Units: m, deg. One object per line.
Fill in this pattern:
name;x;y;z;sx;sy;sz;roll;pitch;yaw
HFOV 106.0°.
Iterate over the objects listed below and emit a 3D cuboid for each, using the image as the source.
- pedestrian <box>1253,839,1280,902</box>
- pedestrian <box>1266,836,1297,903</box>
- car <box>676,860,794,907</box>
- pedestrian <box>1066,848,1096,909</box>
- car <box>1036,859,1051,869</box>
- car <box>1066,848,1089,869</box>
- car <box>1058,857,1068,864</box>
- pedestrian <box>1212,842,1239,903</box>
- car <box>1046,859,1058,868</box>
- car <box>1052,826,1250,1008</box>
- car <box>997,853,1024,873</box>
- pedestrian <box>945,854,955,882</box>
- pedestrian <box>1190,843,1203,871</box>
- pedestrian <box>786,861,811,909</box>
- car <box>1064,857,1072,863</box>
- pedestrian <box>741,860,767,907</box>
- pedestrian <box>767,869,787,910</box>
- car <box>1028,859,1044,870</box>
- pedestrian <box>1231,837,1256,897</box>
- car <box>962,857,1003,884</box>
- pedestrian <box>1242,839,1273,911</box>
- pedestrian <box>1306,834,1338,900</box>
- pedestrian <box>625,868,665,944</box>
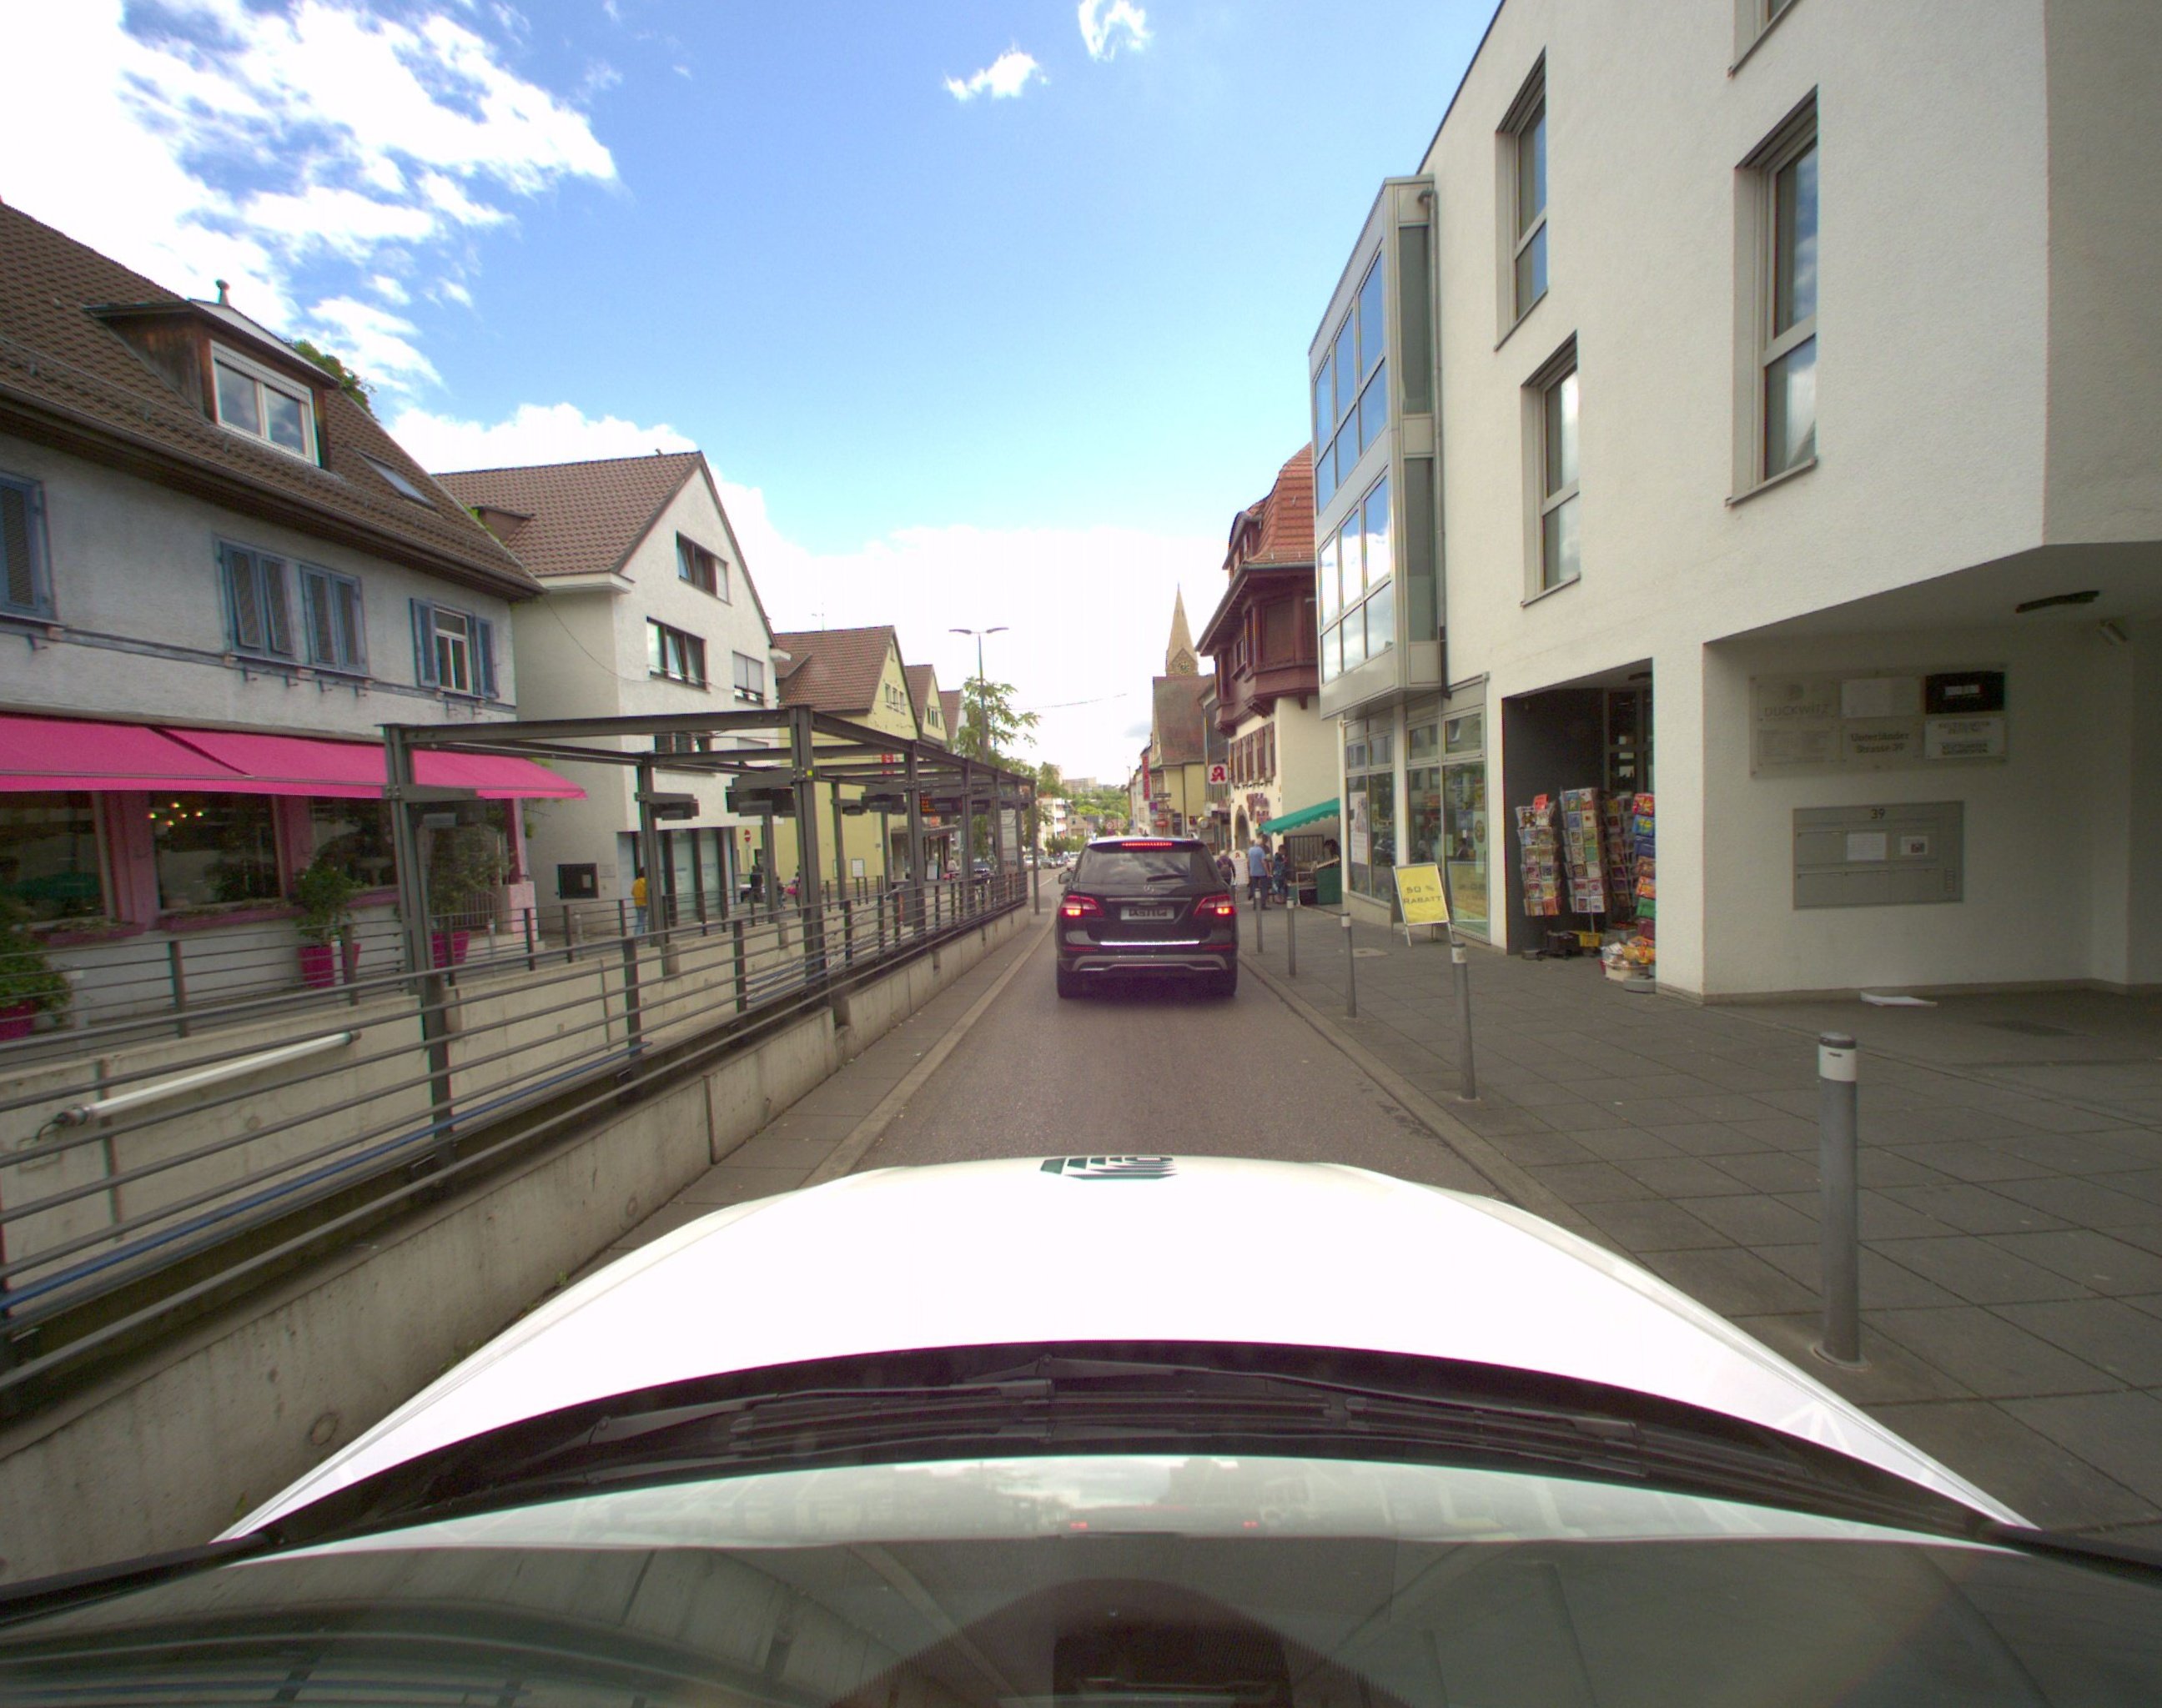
pedestrian;5.071;0.452;22.310;0.572;1.689;0.565;0;0;-4
pedestrian;5.229;0.394;21.264;0.572;1.689;0.565;-3;0;-4
car;-14.208;1.181;33.494;4.149;1.731;1.842;1;0;15
pedestrian;0.009;0.686;23.219;0.761;1.689;0.729;0;0;8
car;-4.524;1.168;98.624;1.383;1.070;3.115;-3;0;2
car;-0.233;0.370;68.214;1.764;1.713;4.002;0;0;2
car;-2.986;1.123;133.177;1.383;1.070;3.115;-3;0;2
pedestrian;4.018;0.505;22.720;0.620;1.689;0.565;0;0;-5
car;-3.996;1.316;111.959;1.383;1.070;3.115;-3;0;2
car;0.693;0.604;9.863;1.894;1.747;4.000;0;0;0
car;-5.520;0.707;64.120;1.654;1.490;3.750;0;0;2
pedestrian;-7.840;0.834;48.709;0.511;1.689;0.542;0;0;1
pedestrian;7.022;0.183;49.608;0.604;1.688;0.725;-3;0;1
pedestrian;-10.018;1.094;28.862;0.623;1.689;0.679;0;0;1
car;-2.541;1.232;160.465;1.383;1.070;3.115;-3;0;2
pedestrian;-11.907;1.065;29.653;0.650;1.689;0.730;0;0;-1
pedestrian;-10.739;1.259;28.800;0.454;1.421;0.534;0;0;4
car;-4.815;1.063;86.769;1.383;1.070;3.115;-3;0;2
pedestrian;5.000;0.396;25.074;0.637;1.809;0.685;0;0;1
car;-5.604;0.910;46.799;1.683;1.490;3.981;0;0;2
pedestrian;4.346;0.521;20.089;0.541;1.726;0.527;-3;0;-4
pedestrian;6.326;0.346;21.376;0.572;1.689;0.565;-3;0;-4
pedestrian;-9.869;1.159;18.434;0.576;1.689;0.577;0;0;1
